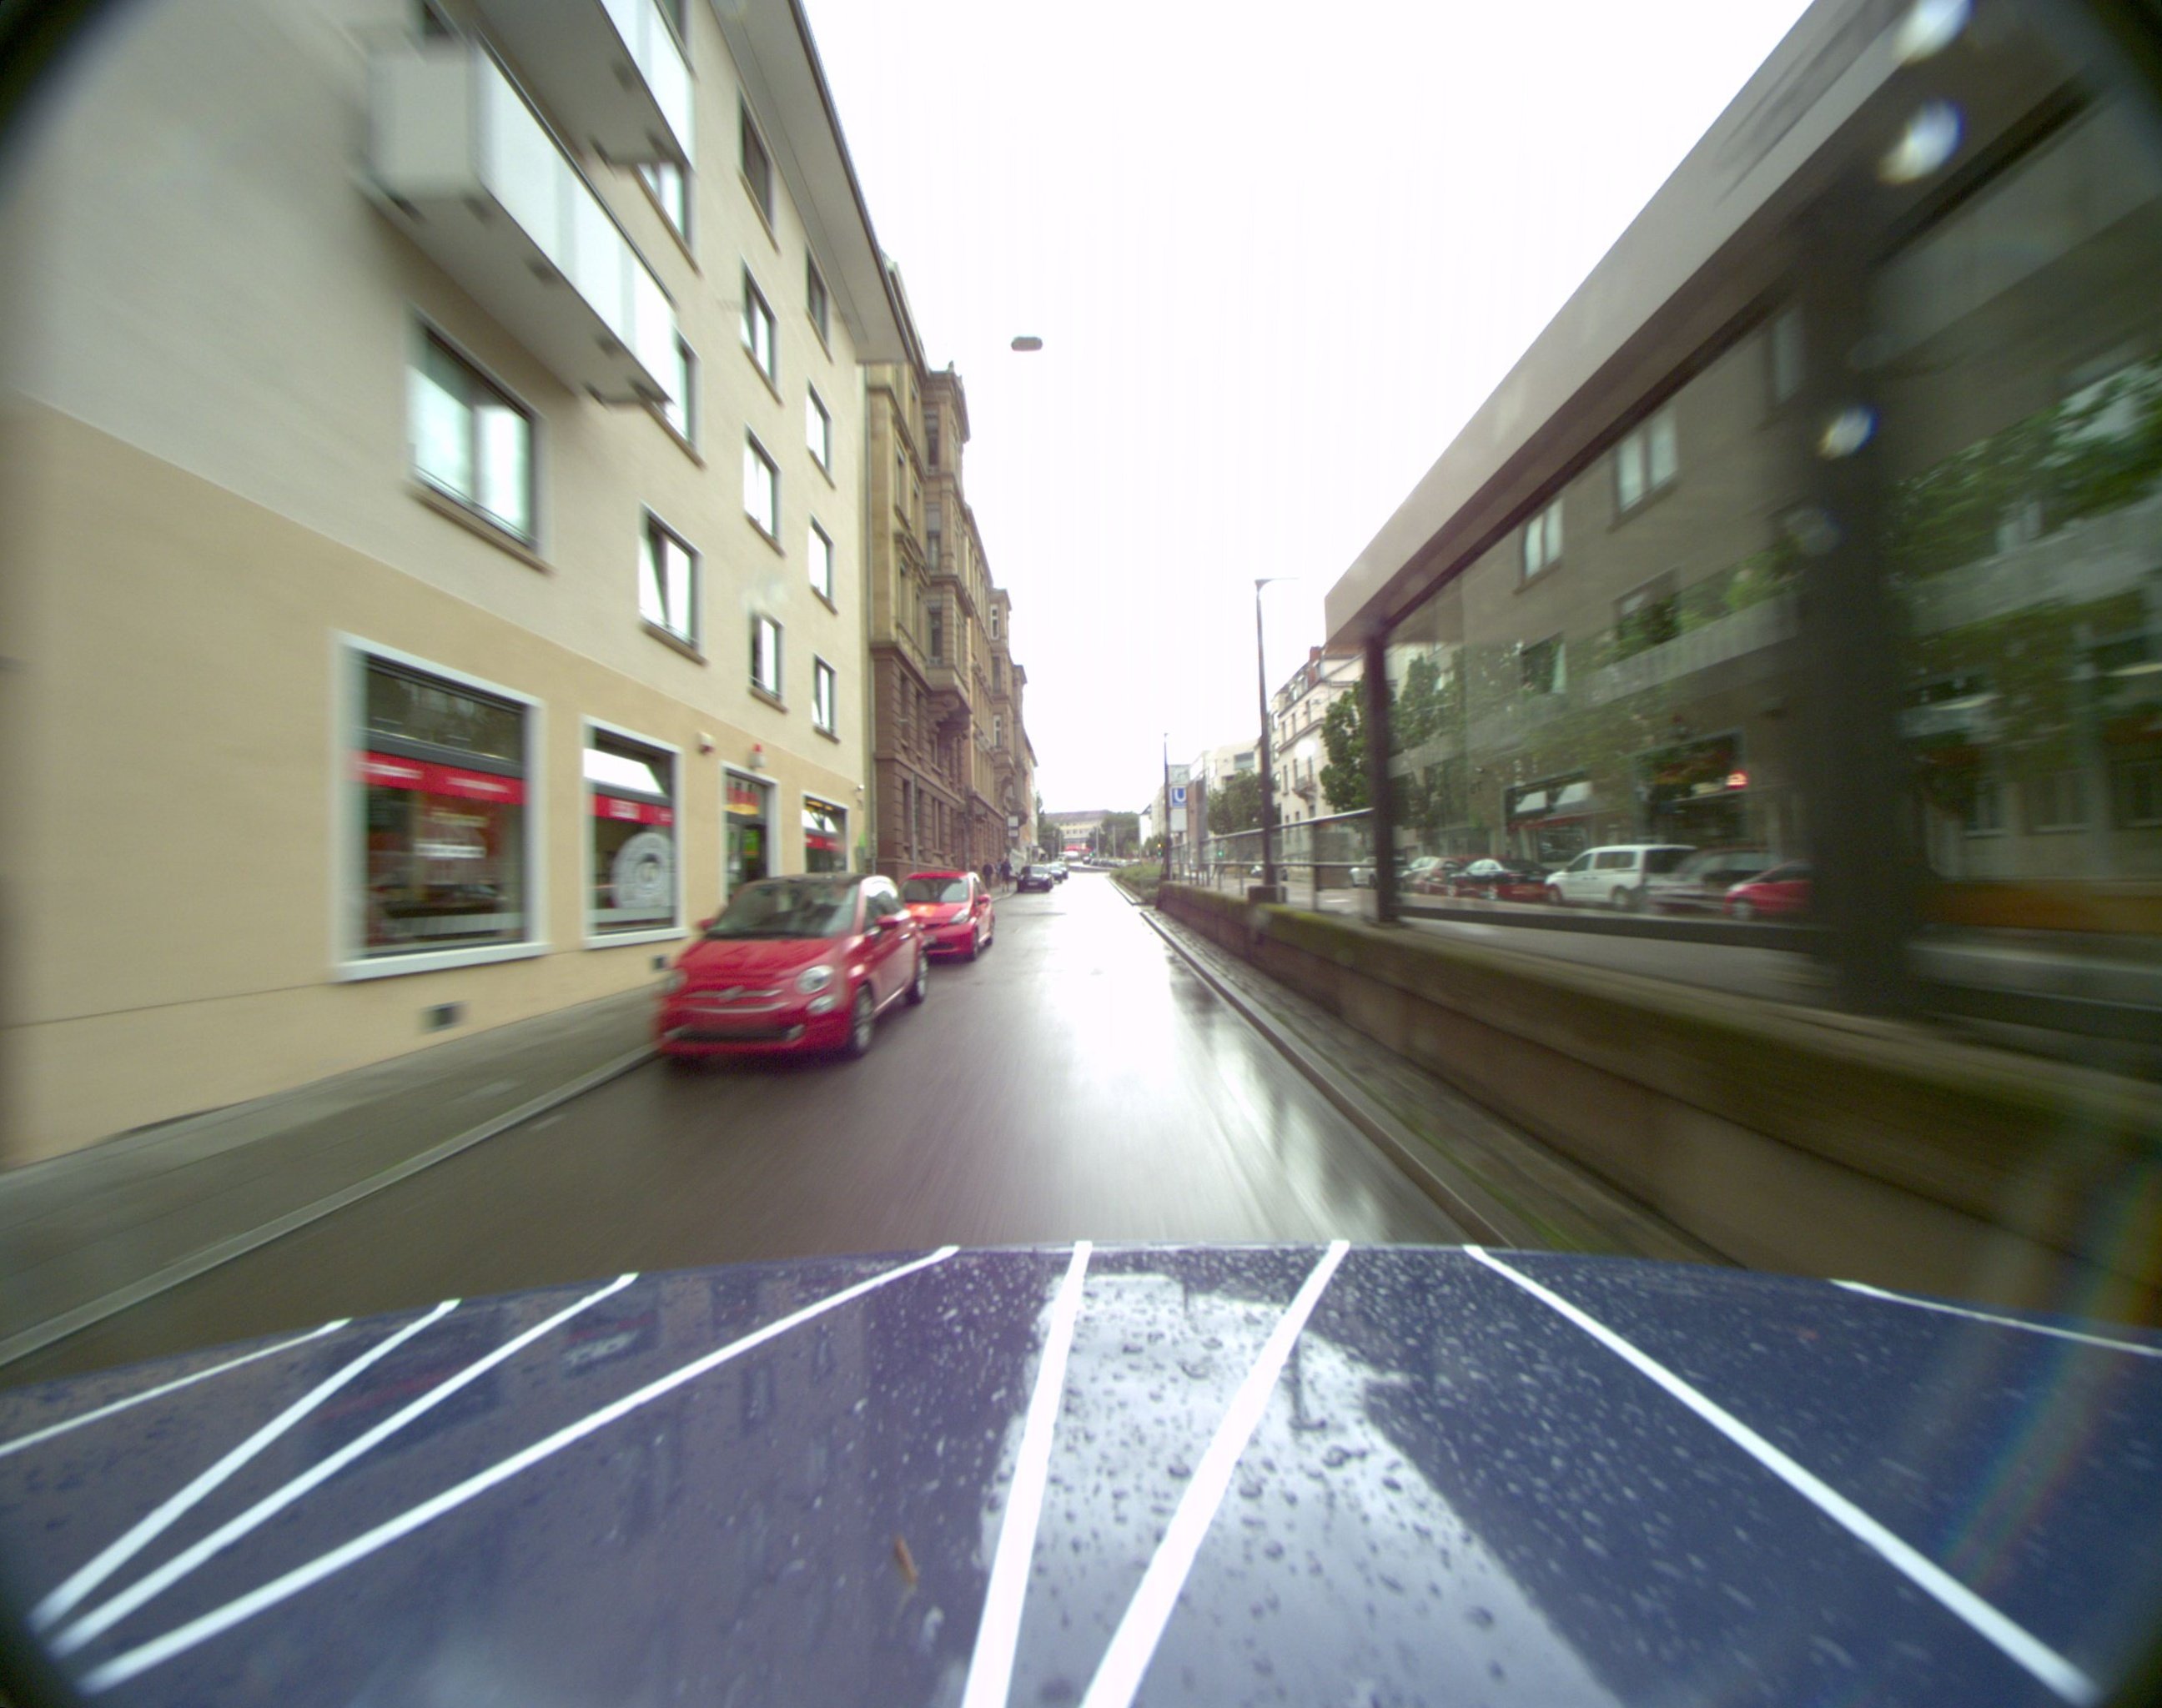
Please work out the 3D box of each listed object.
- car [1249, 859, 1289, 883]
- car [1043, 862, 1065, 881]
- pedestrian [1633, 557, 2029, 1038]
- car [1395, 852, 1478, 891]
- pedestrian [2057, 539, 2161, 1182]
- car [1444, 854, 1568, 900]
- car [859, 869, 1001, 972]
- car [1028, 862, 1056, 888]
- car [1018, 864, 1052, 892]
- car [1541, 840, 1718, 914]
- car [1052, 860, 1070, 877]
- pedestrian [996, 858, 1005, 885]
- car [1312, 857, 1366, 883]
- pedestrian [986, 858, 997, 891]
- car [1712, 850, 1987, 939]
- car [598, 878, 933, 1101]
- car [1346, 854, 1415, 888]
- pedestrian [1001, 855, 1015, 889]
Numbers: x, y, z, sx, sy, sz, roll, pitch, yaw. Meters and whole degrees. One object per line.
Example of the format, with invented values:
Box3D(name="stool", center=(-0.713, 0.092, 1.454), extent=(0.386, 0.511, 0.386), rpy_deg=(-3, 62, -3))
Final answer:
Box3D(name="car", center=(12.238, 1.099, 49.607), extent=(1.642, 1.453, 3.963), rpy_deg=(-1, 0, 1))
Box3D(name="car", center=(-2.057, 1.324, 58.101), extent=(1.588, 1.343, 3.977), rpy_deg=(-1, 0, -1))
Box3D(name="pedestrian", center=(2.949, -0.204, 3.076), extent=(0.919, 1.714, 0.701), rpy_deg=(-1, 1, -2))
Box3D(name="car", center=(14.864, 0.688, 32.011), extent=(1.643, 1.529, 4.022), rpy_deg=(-1, 0, 1))
Box3D(name="pedestrian", center=(2.541, 0.011, 1.344), extent=(0.729, 1.294, 0.701), rpy_deg=(-1, 1, 0))
Box3D(name="car", center=(14.714, 0.731, 26.645), extent=(1.643, 1.432, 4.729), rpy_deg=(-1, 0, -1))
Box3D(name="car", center=(-2.477, 1.049, 13.281), extent=(1.720, 1.453, 3.445), rpy_deg=(-1, 0, 1))
Box3D(name="car", center=(-2.344, 1.258, 46.814), extent=(1.588, 1.405, 3.829), rpy_deg=(-1, 0, -1))
Box3D(name="car", center=(-2.430, 1.234, 40.780), extent=(1.628, 1.343, 3.829), rpy_deg=(-1, 0, -1))
Box3D(name="car", center=(14.980, 0.569, 21.105), extent=(1.678, 1.806, 4.431), rpy_deg=(-1, 0, -1))
Box3D(name="car", center=(-1.917, 1.365, 72.204), extent=(1.588, 1.442, 3.977), rpy_deg=(-1, 0, 0))
Box3D(name="pedestrian", center=(-4.965, 1.095, 46.833), extent=(0.485, 1.635, 0.463), rpy_deg=(-1, 1, -4))
Box3D(name="car", center=(14.940, 0.921, 44.196), extent=(1.718, 1.367, 4.457), rpy_deg=(-1, 0, 2))
Box3D(name="pedestrian", center=(-4.597, 1.048, 39.126), extent=(0.489, 1.635, 0.631), rpy_deg=(-1, 1, -4))
Box3D(name="car", center=(15.078, 0.703, 15.248), extent=(1.643, 1.530, 3.803), rpy_deg=(-1, 0, -1))
Box3D(name="car", center=(-2.590, 1.026, 7.138), extent=(1.649, 1.453, 3.414), rpy_deg=(-1, 0, 1))
Box3D(name="car", center=(14.971, 0.788, 38.255), extent=(1.662, 1.575, 4.337), rpy_deg=(-1, 0, -1))
Box3D(name="pedestrian", center=(-3.771, 0.913, 39.359), extent=(0.653, 1.752, 0.882), rpy_deg=(-1, 1, -4))
